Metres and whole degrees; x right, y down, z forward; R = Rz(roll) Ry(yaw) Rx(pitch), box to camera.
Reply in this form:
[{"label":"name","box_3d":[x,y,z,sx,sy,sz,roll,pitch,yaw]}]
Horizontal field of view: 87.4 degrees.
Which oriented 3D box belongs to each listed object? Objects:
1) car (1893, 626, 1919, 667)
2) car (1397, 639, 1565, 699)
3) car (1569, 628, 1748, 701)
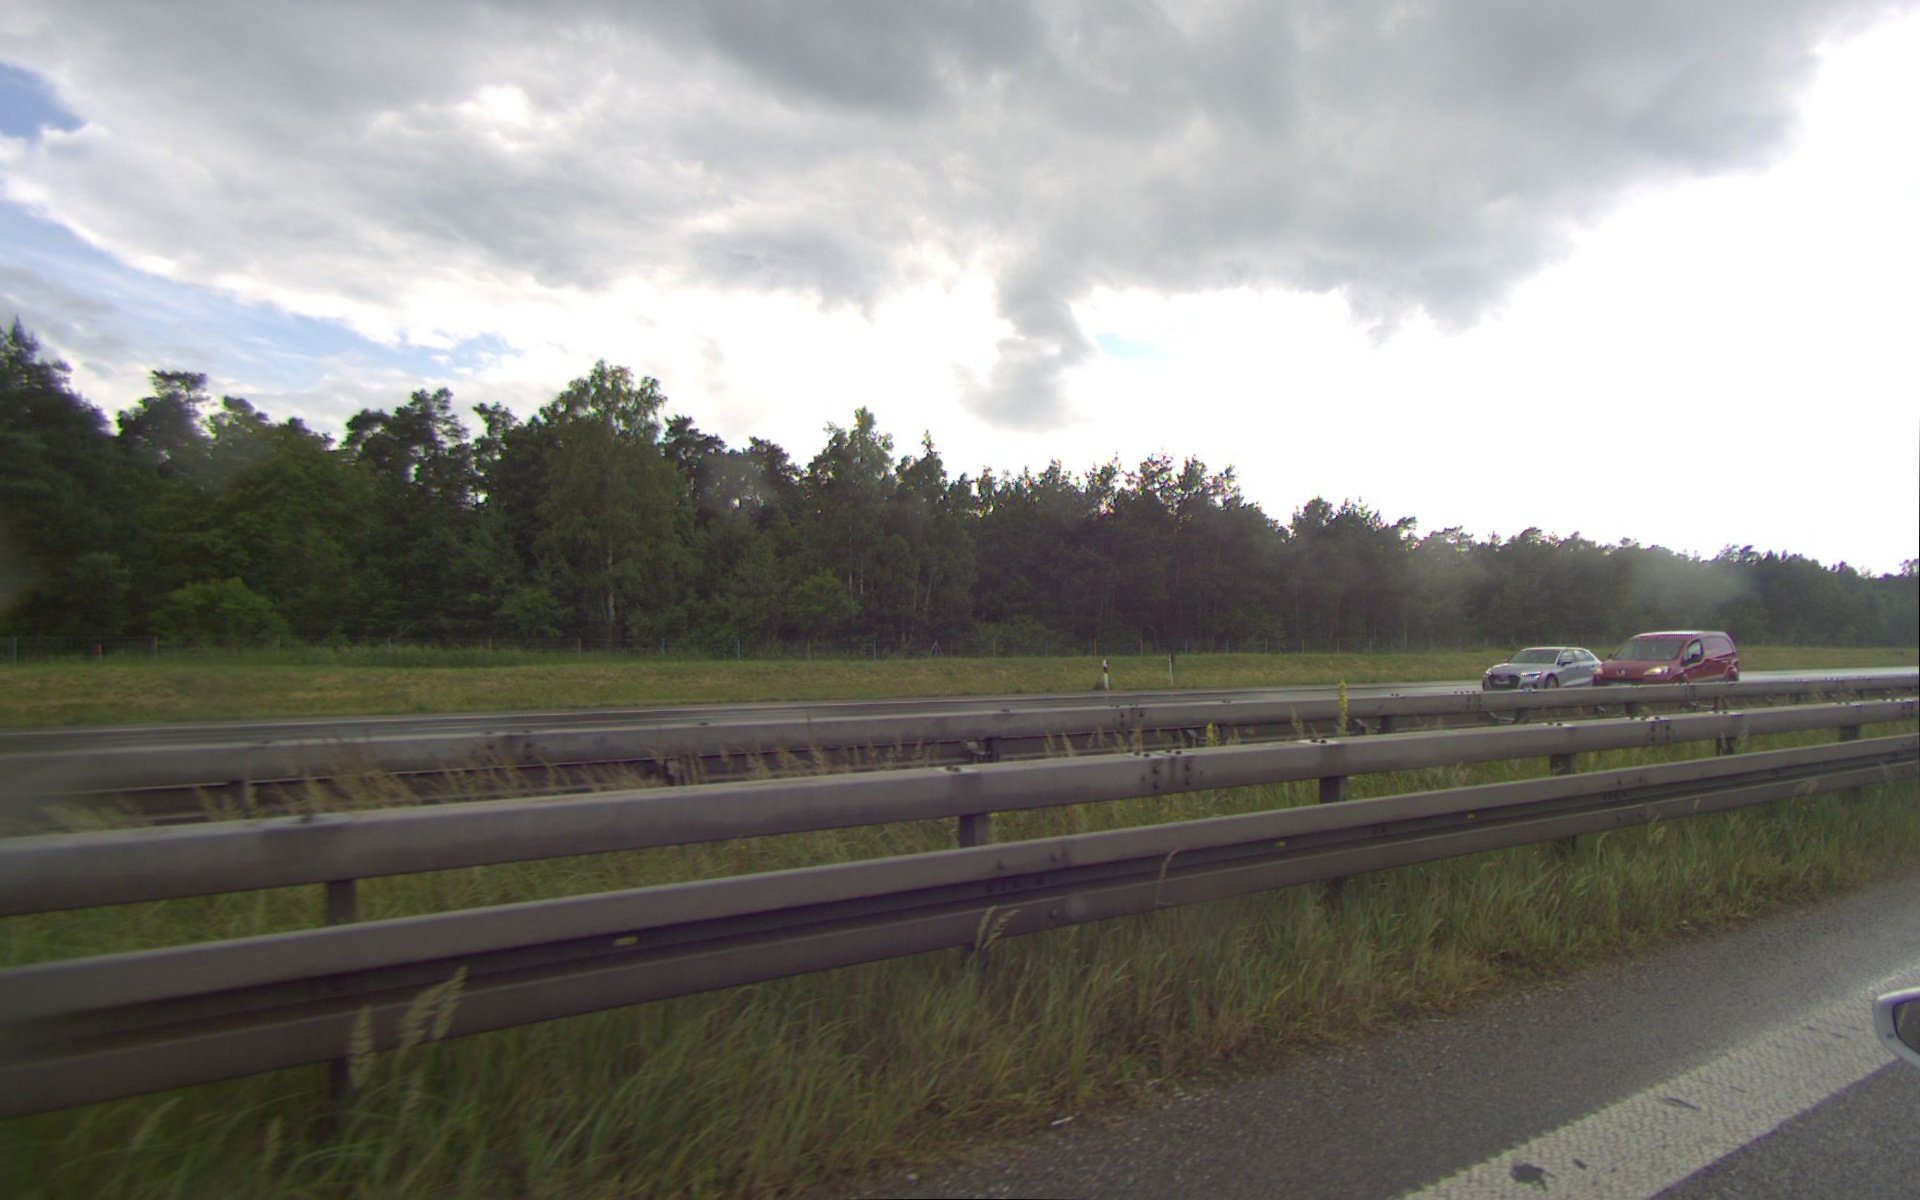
[{"label":"car","box_3d":[46.732,2.194,47.901,4.669,1.941,1.984,1,-4,-31]},{"label":"car","box_3d":[14.360,1.853,27.660,4.555,1.520,1.984,1,-3,-31]},{"label":"car","box_3d":[17.457,1.550,25.061,4.555,1.631,1.984,1,-1,-31]}]
